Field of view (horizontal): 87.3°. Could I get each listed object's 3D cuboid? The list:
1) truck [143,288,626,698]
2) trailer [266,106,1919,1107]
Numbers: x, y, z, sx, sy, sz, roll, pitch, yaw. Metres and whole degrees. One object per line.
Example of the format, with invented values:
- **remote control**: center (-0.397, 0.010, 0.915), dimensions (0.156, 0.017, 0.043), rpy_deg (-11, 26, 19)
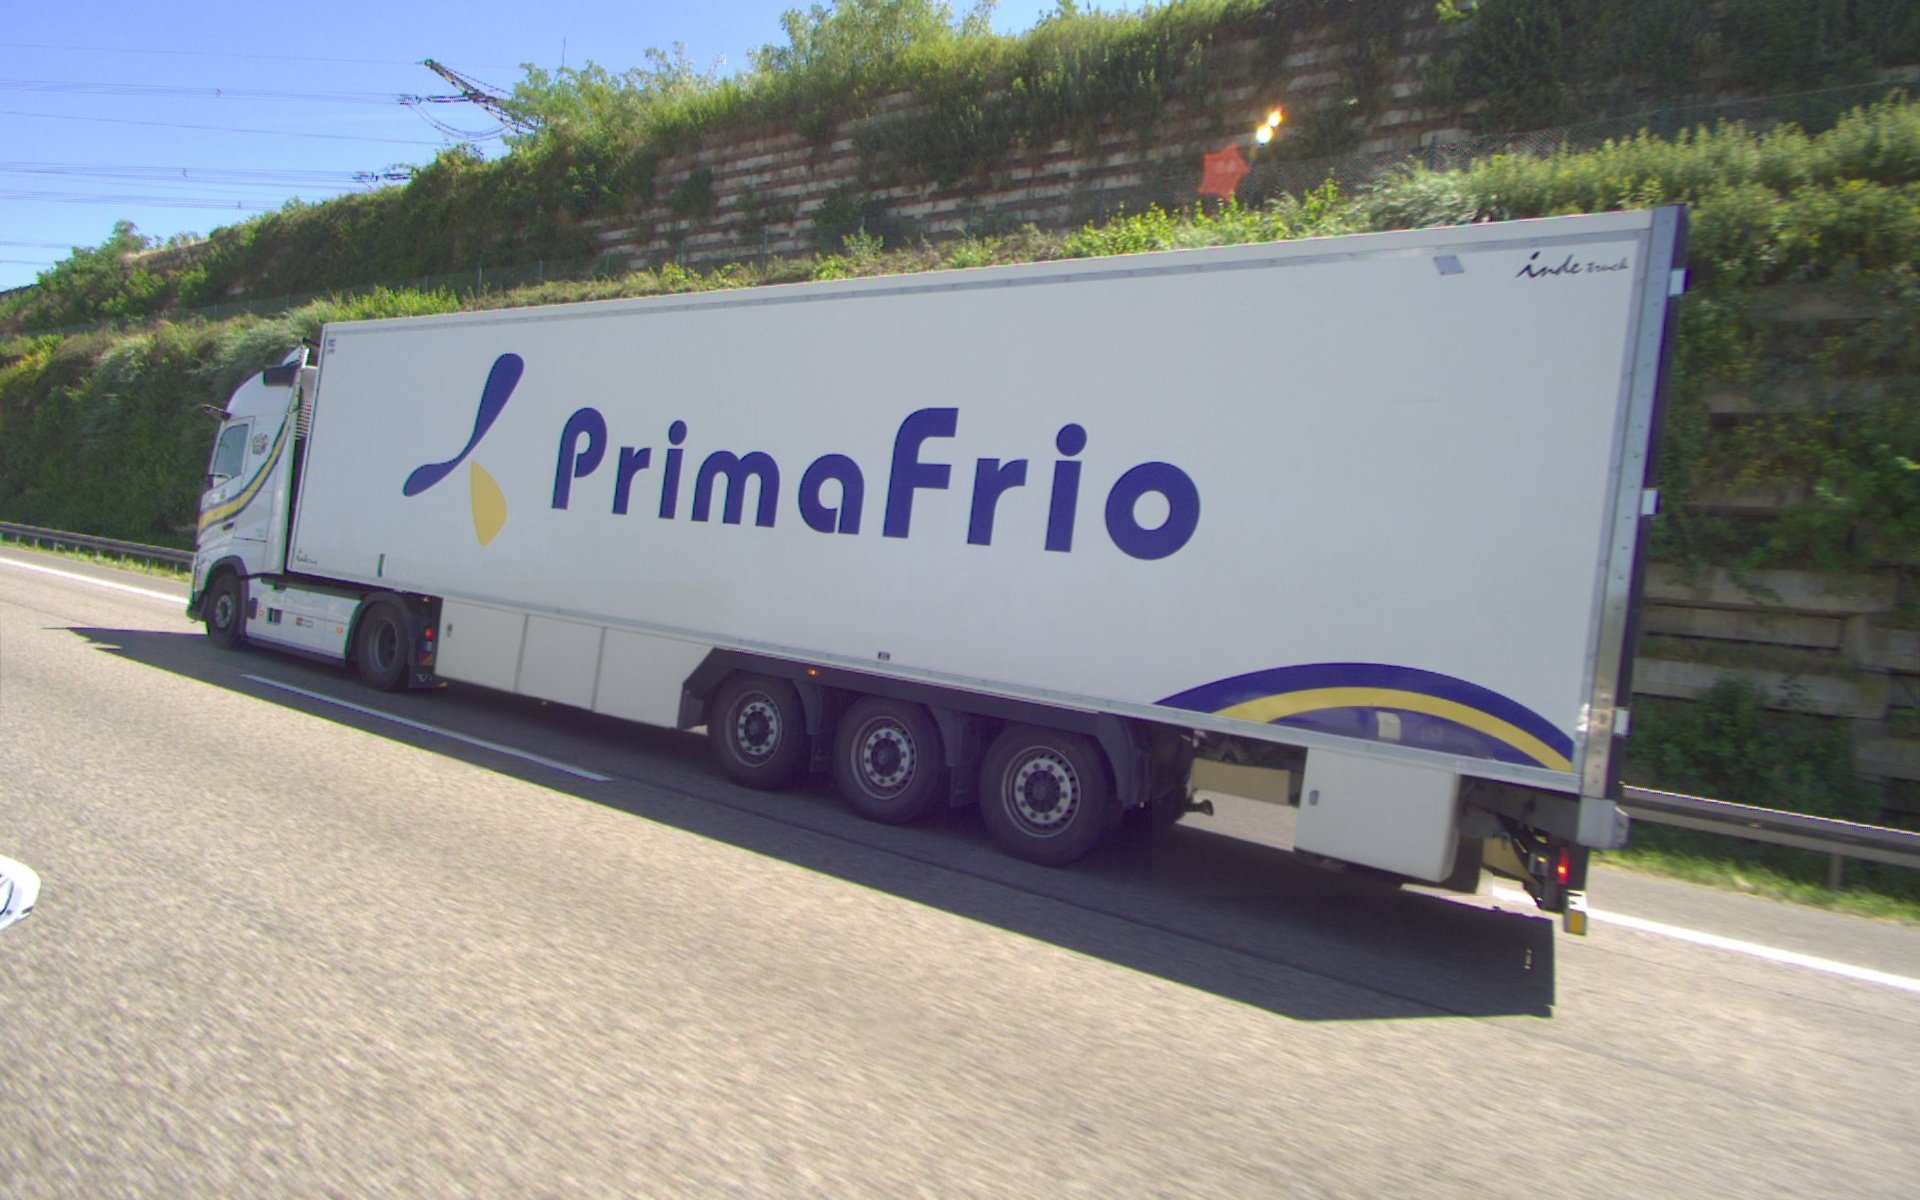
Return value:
- **truck**: center (-7.698, -1.296, 13.232), dimensions (6.154, 4.268, 2.512), rpy_deg (6, -2, 33)
- **trailer**: center (-0.278, -0.482, 8.542), dimensions (16.746, 4.262, 2.518), rpy_deg (7, -1, 32)
